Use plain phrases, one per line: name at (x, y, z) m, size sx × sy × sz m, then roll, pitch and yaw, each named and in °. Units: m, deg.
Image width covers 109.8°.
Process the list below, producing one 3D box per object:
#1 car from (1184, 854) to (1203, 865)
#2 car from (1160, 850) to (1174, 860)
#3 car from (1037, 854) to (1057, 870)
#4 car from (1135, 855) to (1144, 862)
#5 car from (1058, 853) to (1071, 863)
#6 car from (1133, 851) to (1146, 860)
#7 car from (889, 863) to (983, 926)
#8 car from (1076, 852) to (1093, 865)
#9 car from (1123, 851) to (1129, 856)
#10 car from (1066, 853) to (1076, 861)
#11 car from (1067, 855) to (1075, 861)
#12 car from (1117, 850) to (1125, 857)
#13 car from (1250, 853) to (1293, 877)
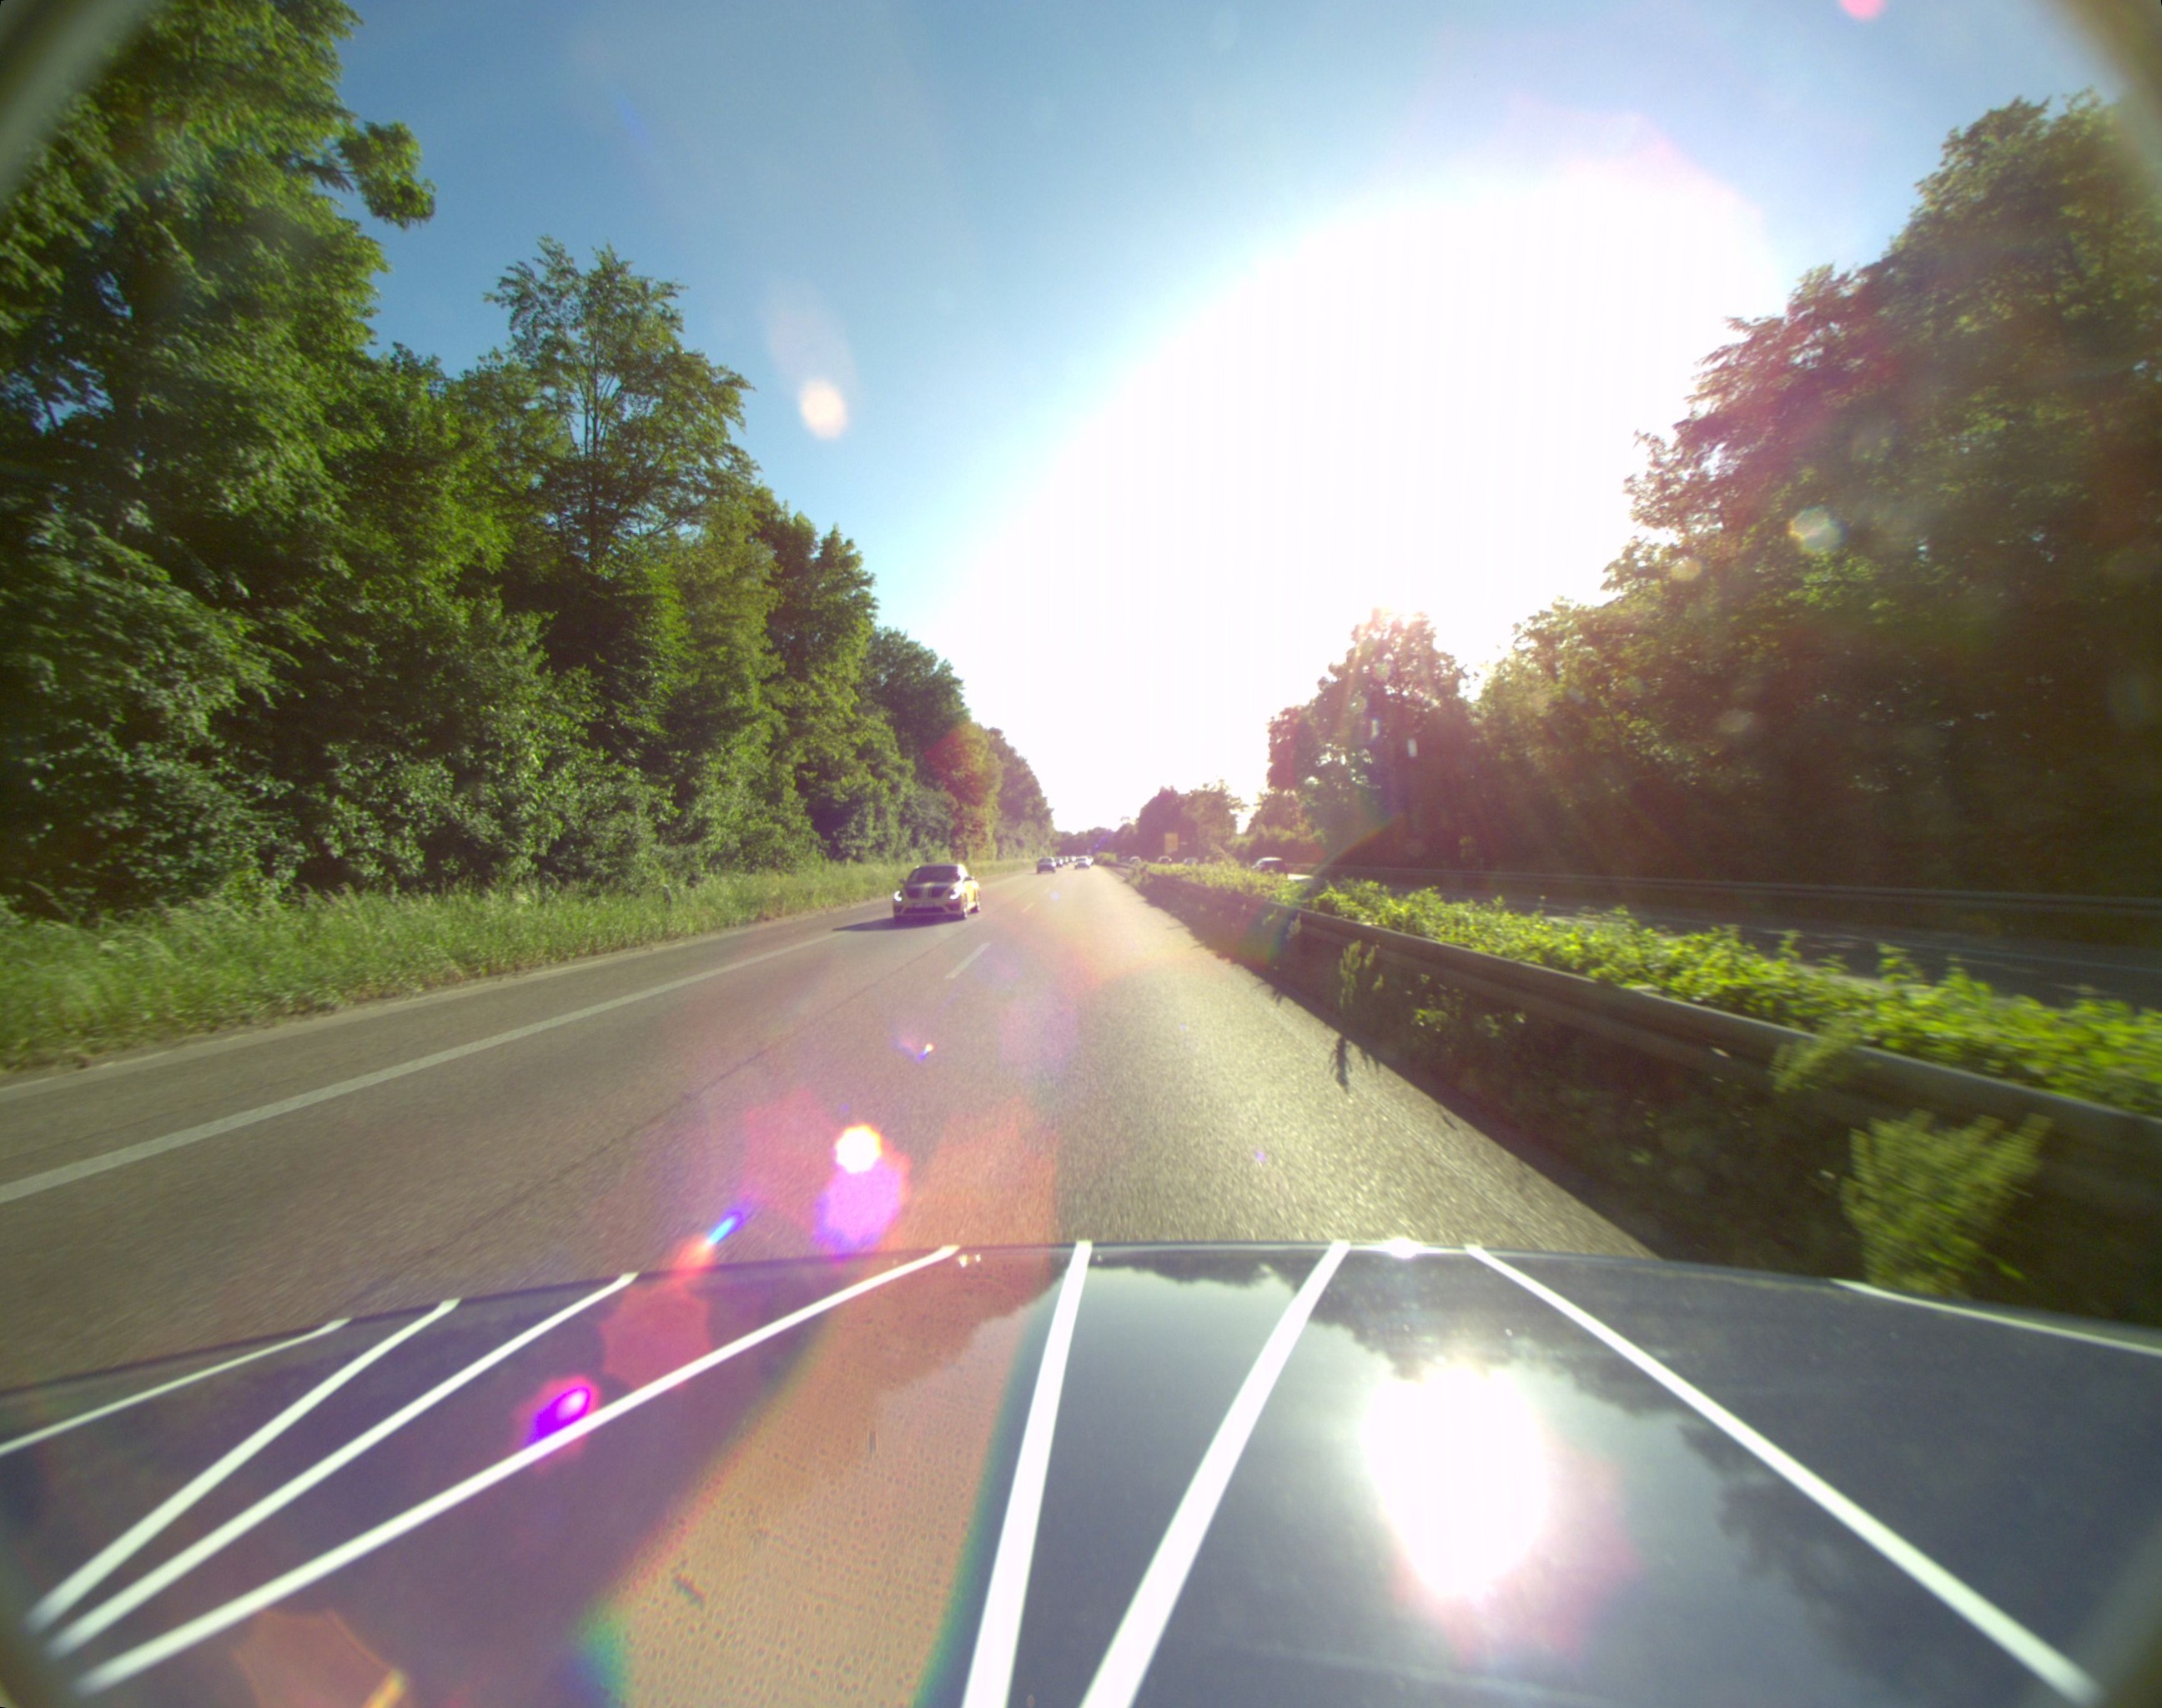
car at (13.341, 0.687, 90.176) m, size 1.649 × 1.215 × 4.262 m, roll -2°, pitch 0°, yaw 0°
car at (13.409, 0.141, 118.815) m, size 1.752 × 1.418 × 4.135 m, roll -2°, pitch 1°, yaw 0°
car at (-3.287, 0.737, 74.706) m, size 1.795 × 1.440 × 3.877 m, roll -2°, pitch 0°, yaw 0°
car at (13.395, 0.968, 175.092) m, size 1.752 × 1.486 × 3.976 m, roll -2°, pitch 1°, yaw 0°
car at (-2.470, 0.590, 111.466) m, size 1.795 × 1.440 × 3.877 m, roll -2°, pitch 0°, yaw 0°
car at (9.797, 0.265, 127.822) m, size 1.752 × 1.418 × 5.203 m, roll -2°, pitch 1°, yaw 0°
car at (-3.828, 1.024, 20.675) m, size 1.795 × 1.440 × 3.877 m, roll -2°, pitch 0°, yaw 0°
car at (0.438, 0.561, 92.529) m, size 1.890 × 1.440 × 3.877 m, roll -2°, pitch 0°, yaw 1°
car at (13.425, -0.226, 227.415) m, size 1.642 × 1.541 × 3.792 m, roll -2°, pitch 1°, yaw 0°
car at (-1.842, 0.513, 138.522) m, size 1.795 × 1.440 × 3.877 m, roll -2°, pitch 0°, yaw 0°
car at (-2.528, 1.058, 192.982) m, size 1.795 × 1.440 × 3.877 m, roll -2°, pitch 0°, yaw 0°
car at (9.727, -0.136, 183.148) m, size 1.642 × 1.694 × 3.792 m, roll -2°, pitch 1°, yaw 0°
car at (12.553, 0.707, 50.312) m, size 1.737 × 1.400 × 4.556 m, roll -2°, pitch 0°, yaw 0°
